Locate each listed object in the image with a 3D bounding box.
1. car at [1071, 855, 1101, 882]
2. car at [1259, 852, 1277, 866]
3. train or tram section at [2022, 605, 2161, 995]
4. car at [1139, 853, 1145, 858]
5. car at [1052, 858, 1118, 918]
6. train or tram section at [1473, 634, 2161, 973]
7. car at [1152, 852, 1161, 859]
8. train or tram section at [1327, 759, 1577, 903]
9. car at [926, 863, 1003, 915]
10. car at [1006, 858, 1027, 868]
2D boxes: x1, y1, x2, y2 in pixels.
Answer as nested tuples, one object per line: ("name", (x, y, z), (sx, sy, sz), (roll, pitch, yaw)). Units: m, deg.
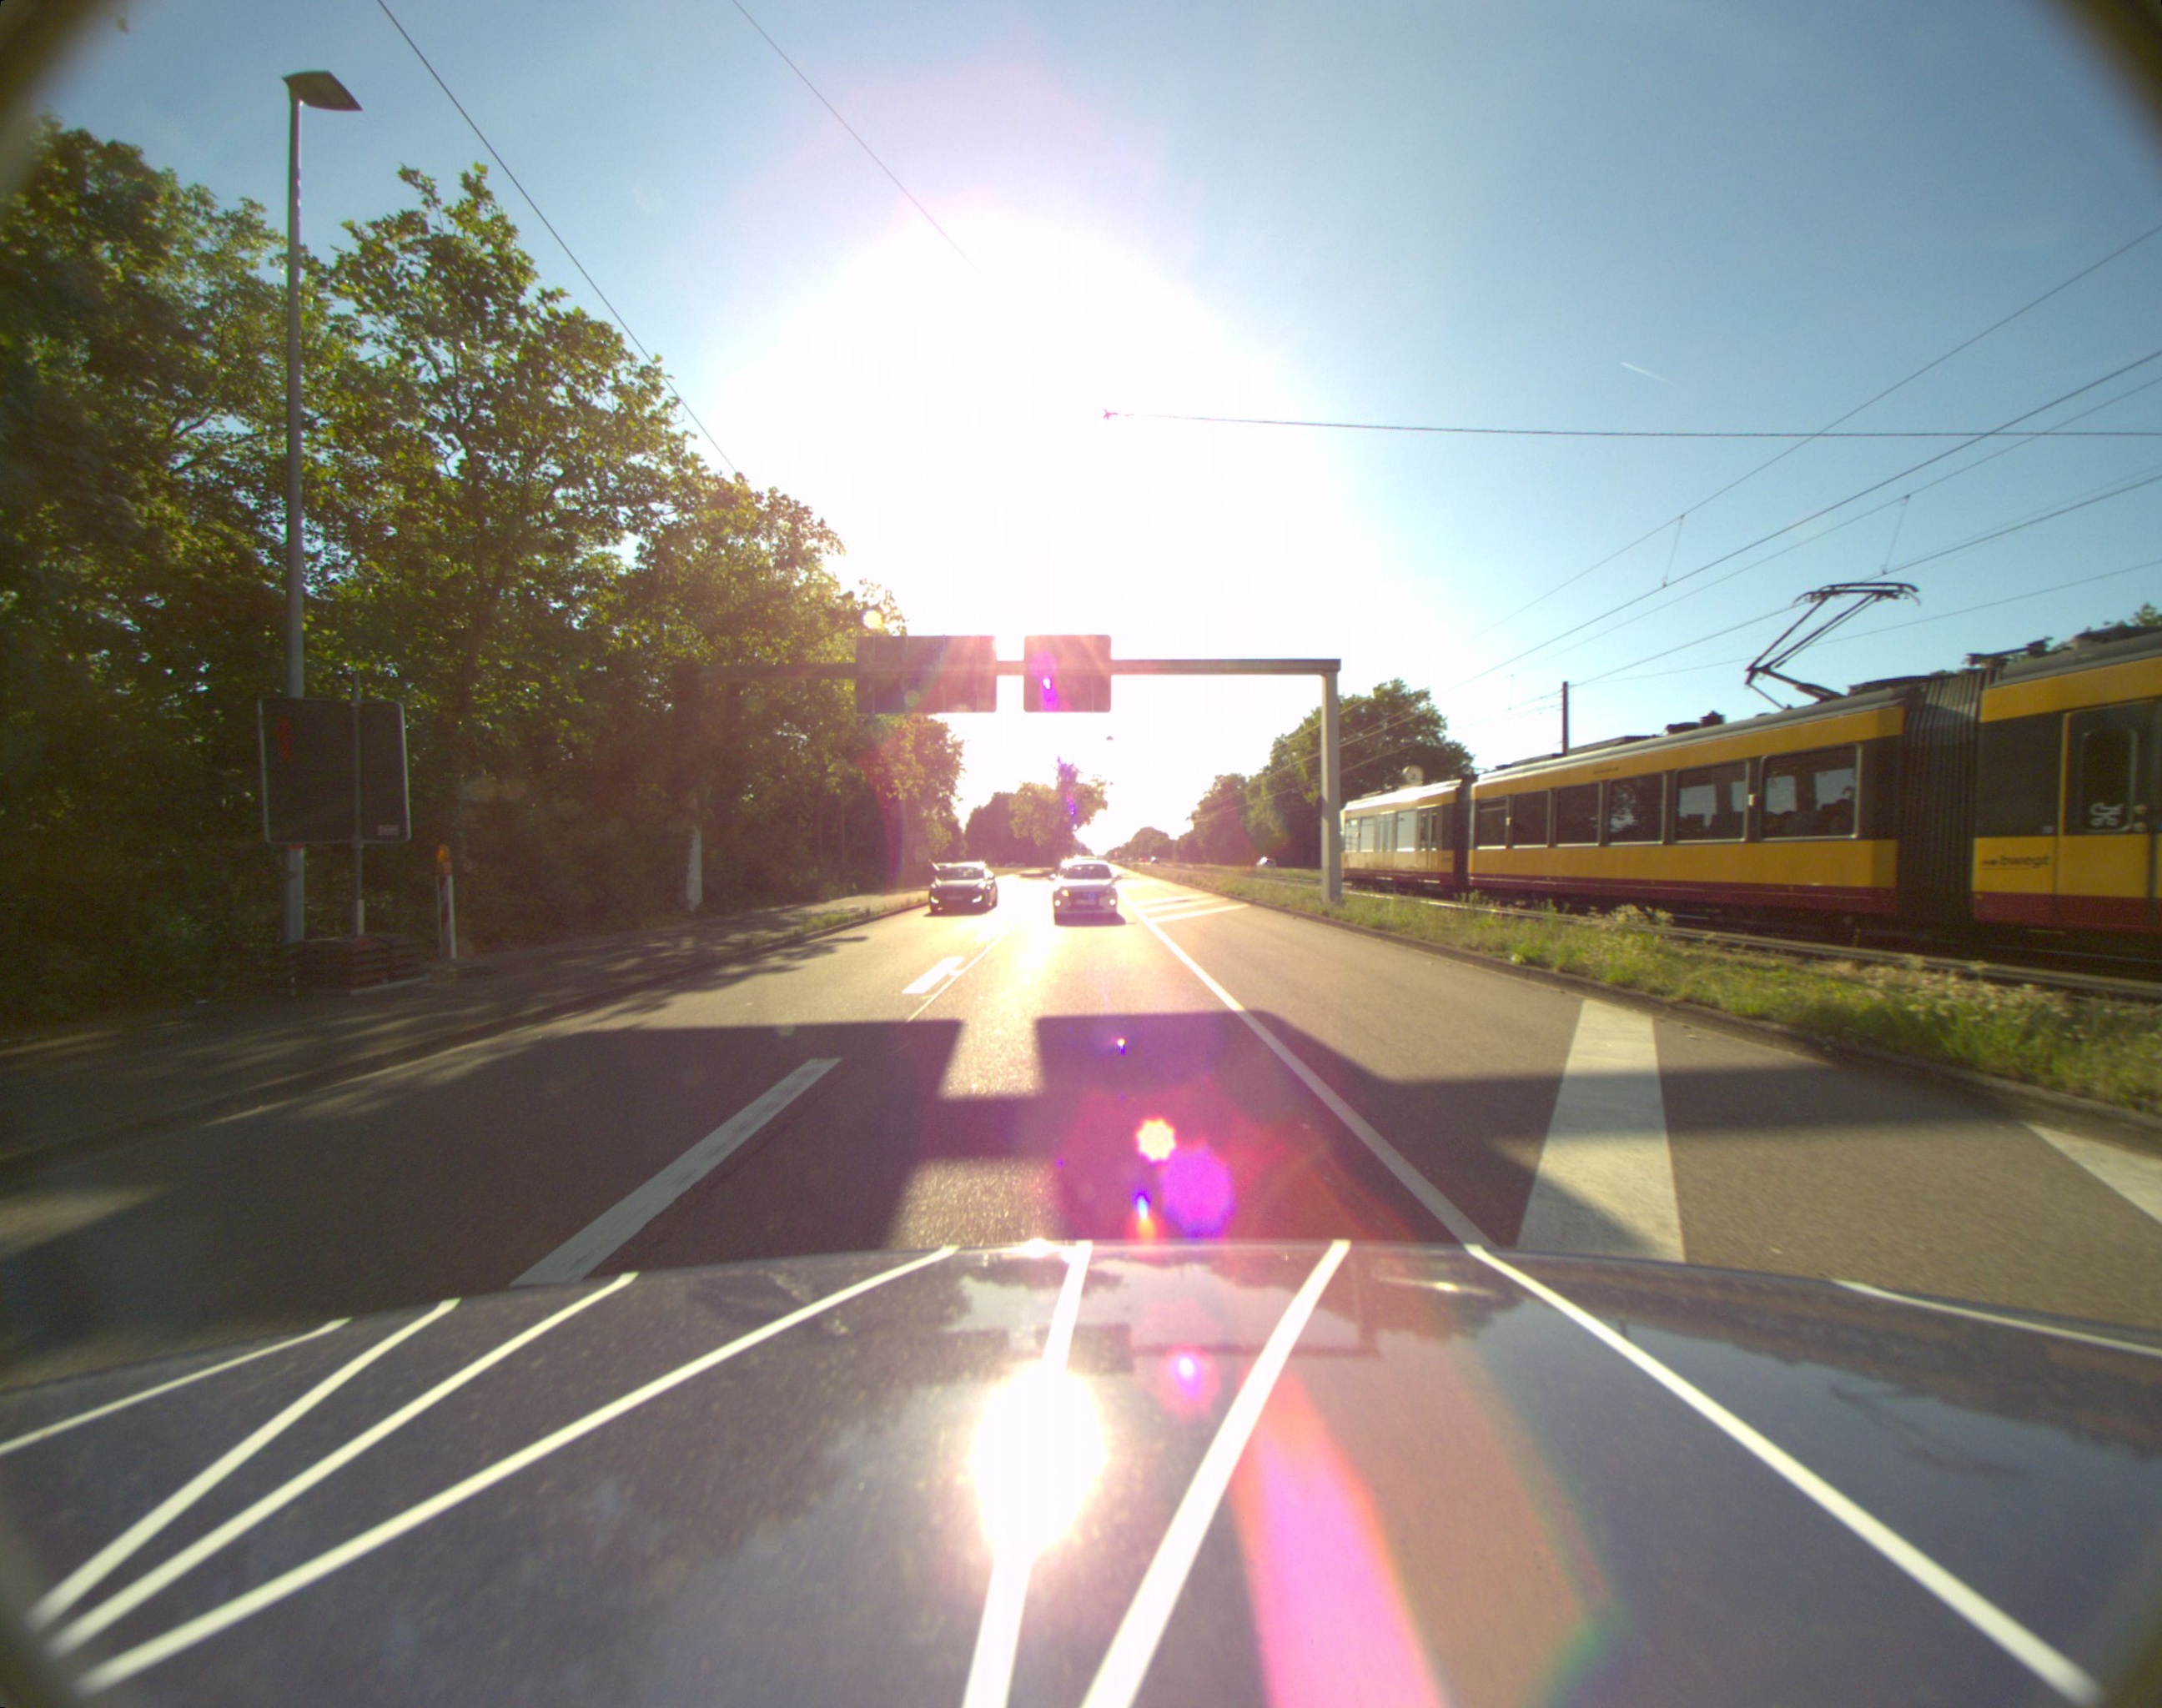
("car", (0.340, 0.832, 46.117), (1.709, 1.512, 3.844), (-1, 0, 1))
("car", (23.514, 0.643, 95.799), (1.656, 1.517, 4.274), (1, 2, 6))
("train or tram section", (12.183, -0.547, 2.783), (2.811, 3.880, 11.811), (-1, 0, 0))
("car", (19.877, 0.485, 248.311), (1.715, 1.459, 4.348), (2, -1, -1))
("car", (0.148, 0.901, 21.799), (1.709, 1.503, 3.862), (-1, 0, 1))
("train or tram section", (12.175, -0.612, 14.792), (2.811, 3.880, 11.989), (-1, 0, 0))
("car", (20.589, 0.456, 206.838), (1.903, 1.684, 4.940), (2, 0, -1))
("train or tram section", (12.167, -0.646, 26.994), (2.811, 3.880, 12.331), (-1, 0, 0))
("car", (-3.665, 1.059, 24.633), (1.797, 1.432, 4.223), (-1, 0, 0))
("car", (-12.543, 1.677, 147.788), (3.649, 1.789, 1.884), (-1, 0, -22))
